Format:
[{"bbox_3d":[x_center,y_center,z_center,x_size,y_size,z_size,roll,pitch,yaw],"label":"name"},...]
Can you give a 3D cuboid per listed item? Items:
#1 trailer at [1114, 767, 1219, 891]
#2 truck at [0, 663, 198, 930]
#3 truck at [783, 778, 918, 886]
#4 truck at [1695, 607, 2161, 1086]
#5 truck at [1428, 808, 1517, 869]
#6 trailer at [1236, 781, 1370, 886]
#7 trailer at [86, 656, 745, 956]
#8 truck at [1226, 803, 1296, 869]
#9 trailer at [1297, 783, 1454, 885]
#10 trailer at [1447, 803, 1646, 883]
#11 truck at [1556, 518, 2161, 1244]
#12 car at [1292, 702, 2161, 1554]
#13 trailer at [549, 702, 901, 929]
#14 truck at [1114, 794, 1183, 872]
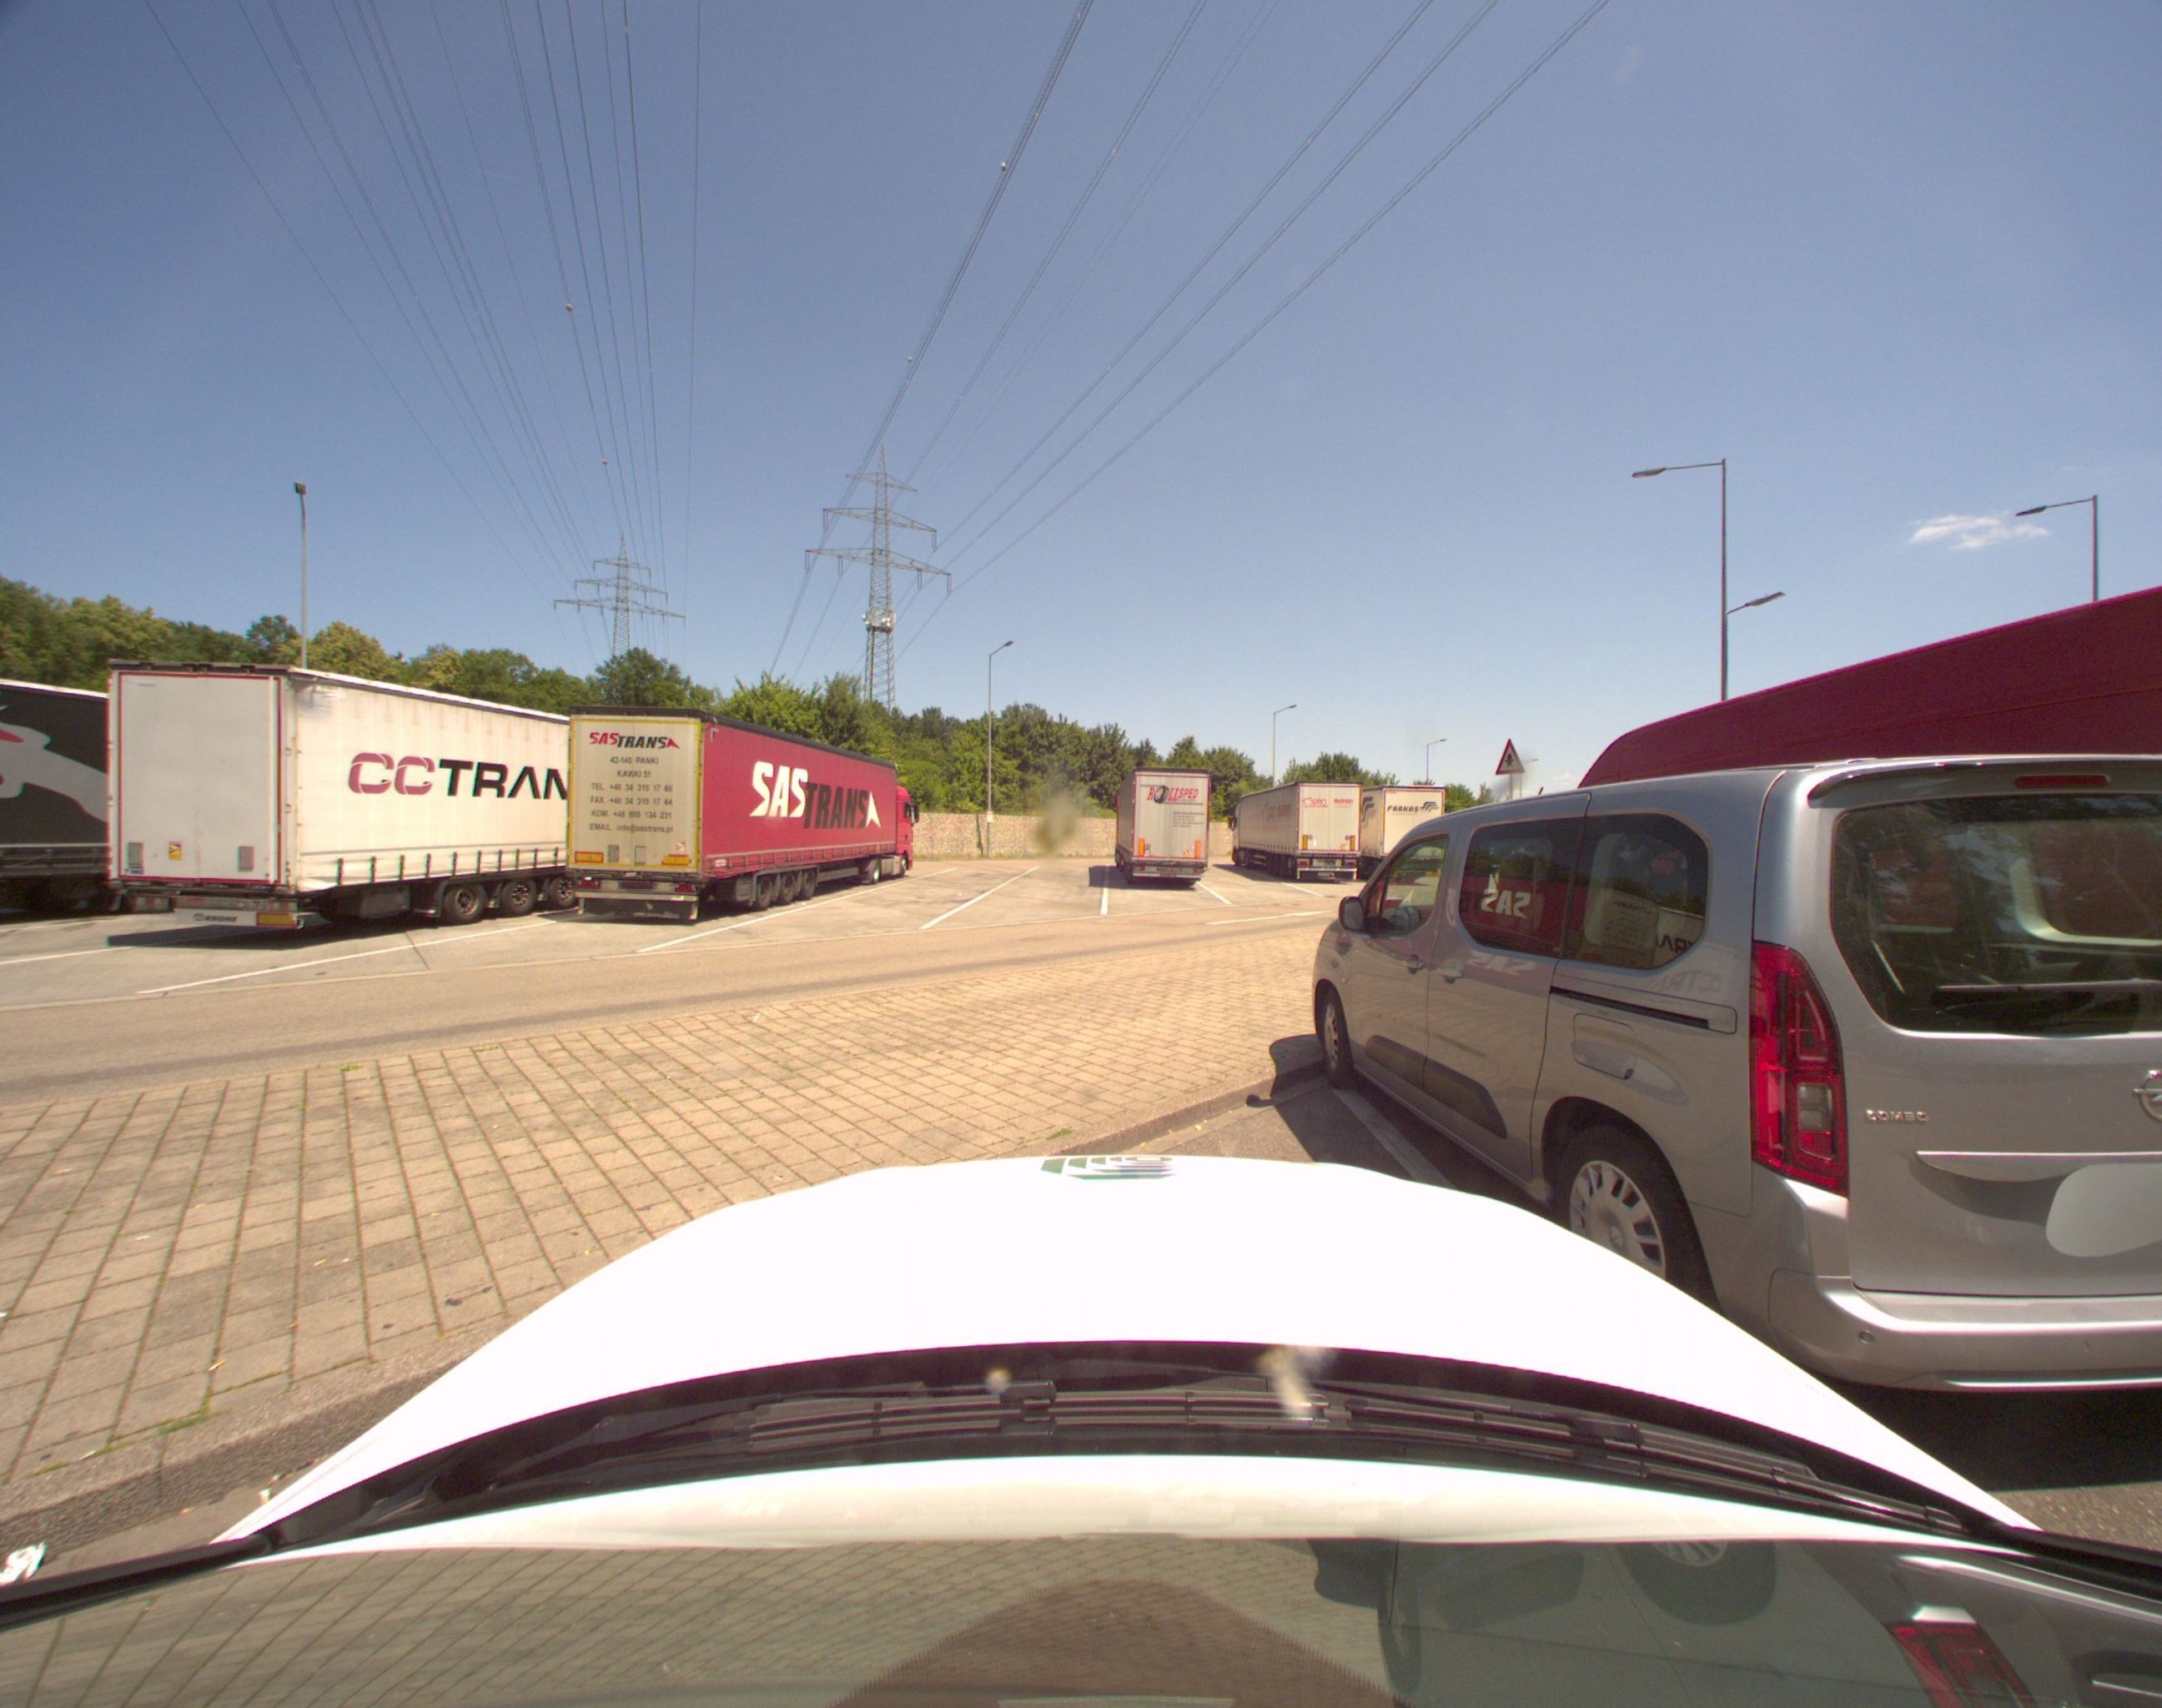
[{"bbox_3d":[3.062,-1.065,33.689,3.122,3.989,14.401,1,2,1],"label":"trailer"},{"bbox_3d":[-18.544,-0.965,13.780,2.726,4.239,3.997,1,2,2],"label":"truck"},{"bbox_3d":[-7.818,-0.783,28.470,2.840,3.327,5.903,1,2,2],"label":"truck"},{"bbox_3d":[7.986,-0.041,6.447,2.444,2.912,5.663,-1,-1,7],"label":"truck"},{"bbox_3d":[24.357,-1.011,50.975,2.792,3.521,5.903,1,2,2],"label":"truck"},{"bbox_3d":[9.928,-1.047,38.636,2.801,3.989,14.403,1,2,2],"label":"trailer"},{"bbox_3d":[-12.131,-0.909,18.331,2.785,4.084,14.139,1,2,2],"label":"trailer"},{"bbox_3d":[10.192,-1.076,46.737,2.852,3.521,5.903,1,2,2],"label":"truck"},{"bbox_3d":[13.602,-1.039,39.599,2.801,3.989,14.403,1,2,2],"label":"trailer"},{"bbox_3d":[24.100,-0.740,43.744,2.801,3.507,14.403,1,2,2],"label":"trailer"},{"bbox_3d":[5.130,0.116,4.899,1.968,2.622,5.314,0,-1,7],"label":"truck"},{"bbox_3d":[2.484,0.571,3.876,1.864,1.863,4.176,1,1,0],"label":"car"},{"bbox_3d":[-8.067,-0.946,21.900,2.781,4.084,14.139,1,2,2],"label":"trailer"},{"bbox_3d":[3.229,-1.081,40.583,3.092,3.566,5.903,1,2,2],"label":"truck"}]
